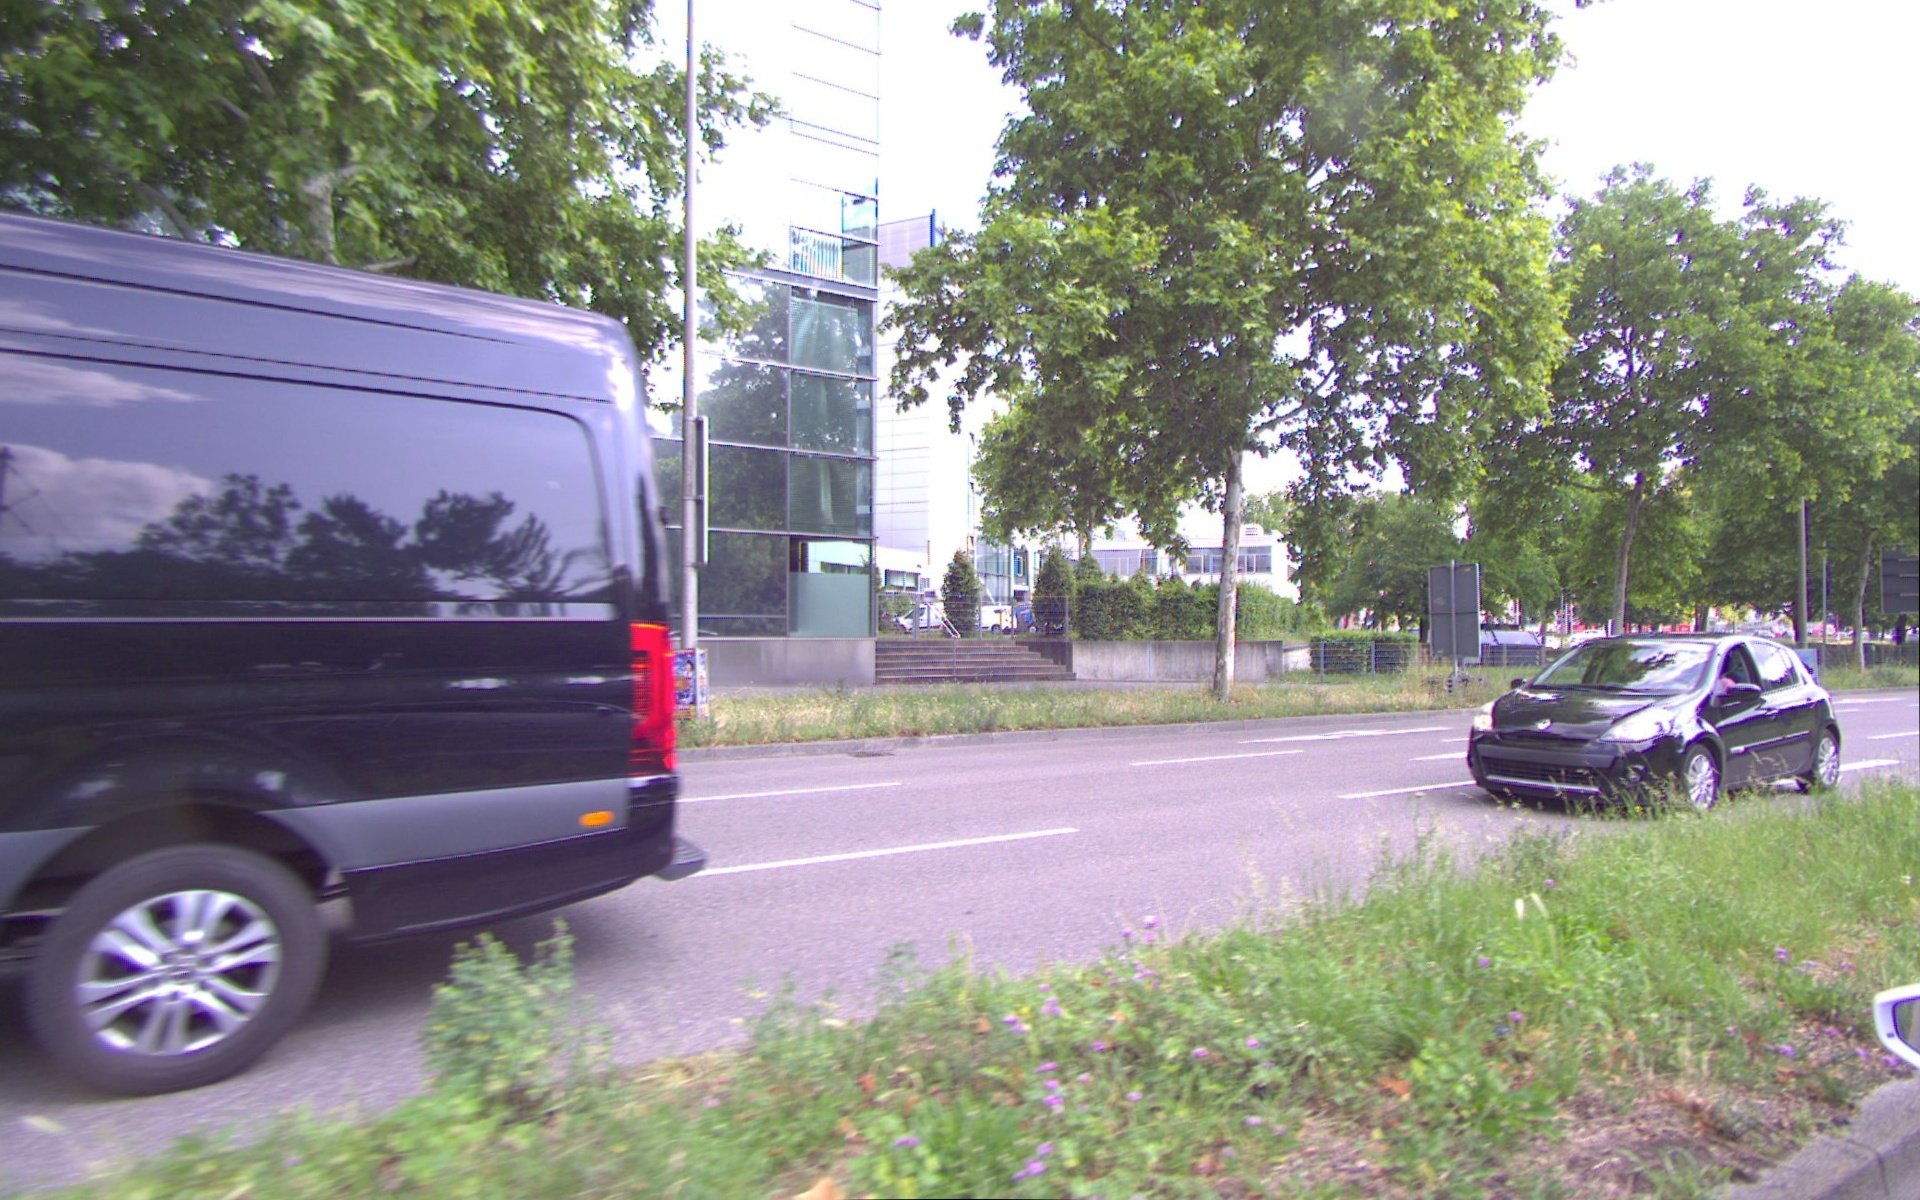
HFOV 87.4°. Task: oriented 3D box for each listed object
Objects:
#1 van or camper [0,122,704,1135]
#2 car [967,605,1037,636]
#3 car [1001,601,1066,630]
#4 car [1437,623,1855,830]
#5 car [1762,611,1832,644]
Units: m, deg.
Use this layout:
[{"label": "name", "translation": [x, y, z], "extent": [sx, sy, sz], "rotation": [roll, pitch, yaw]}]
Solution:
[{"label": "van or camper", "translation": [-4.290, 0.074, 2.791], "extent": [6.645, 2.694, 2.093], "rotation": [1, -3, -33]}, {"label": "car", "translation": [2.688, 1.306, 63.954], "extent": [3.923, 1.728, 2.000], "rotation": [2, -3, 23]}, {"label": "car", "translation": [5.016, 1.068, 68.804], "extent": [3.923, 1.728, 2.000], "rotation": [2, -3, 23]}, {"label": "car", "translation": [6.200, 0.991, 8.986], "extent": [3.898, 1.483, 1.685], "rotation": [2, -3, -32]}, {"label": "car", "translation": [47.525, 1.568, 57.027], "extent": [3.955, 1.616, 1.882], "rotation": [5, -3, -31]}]
